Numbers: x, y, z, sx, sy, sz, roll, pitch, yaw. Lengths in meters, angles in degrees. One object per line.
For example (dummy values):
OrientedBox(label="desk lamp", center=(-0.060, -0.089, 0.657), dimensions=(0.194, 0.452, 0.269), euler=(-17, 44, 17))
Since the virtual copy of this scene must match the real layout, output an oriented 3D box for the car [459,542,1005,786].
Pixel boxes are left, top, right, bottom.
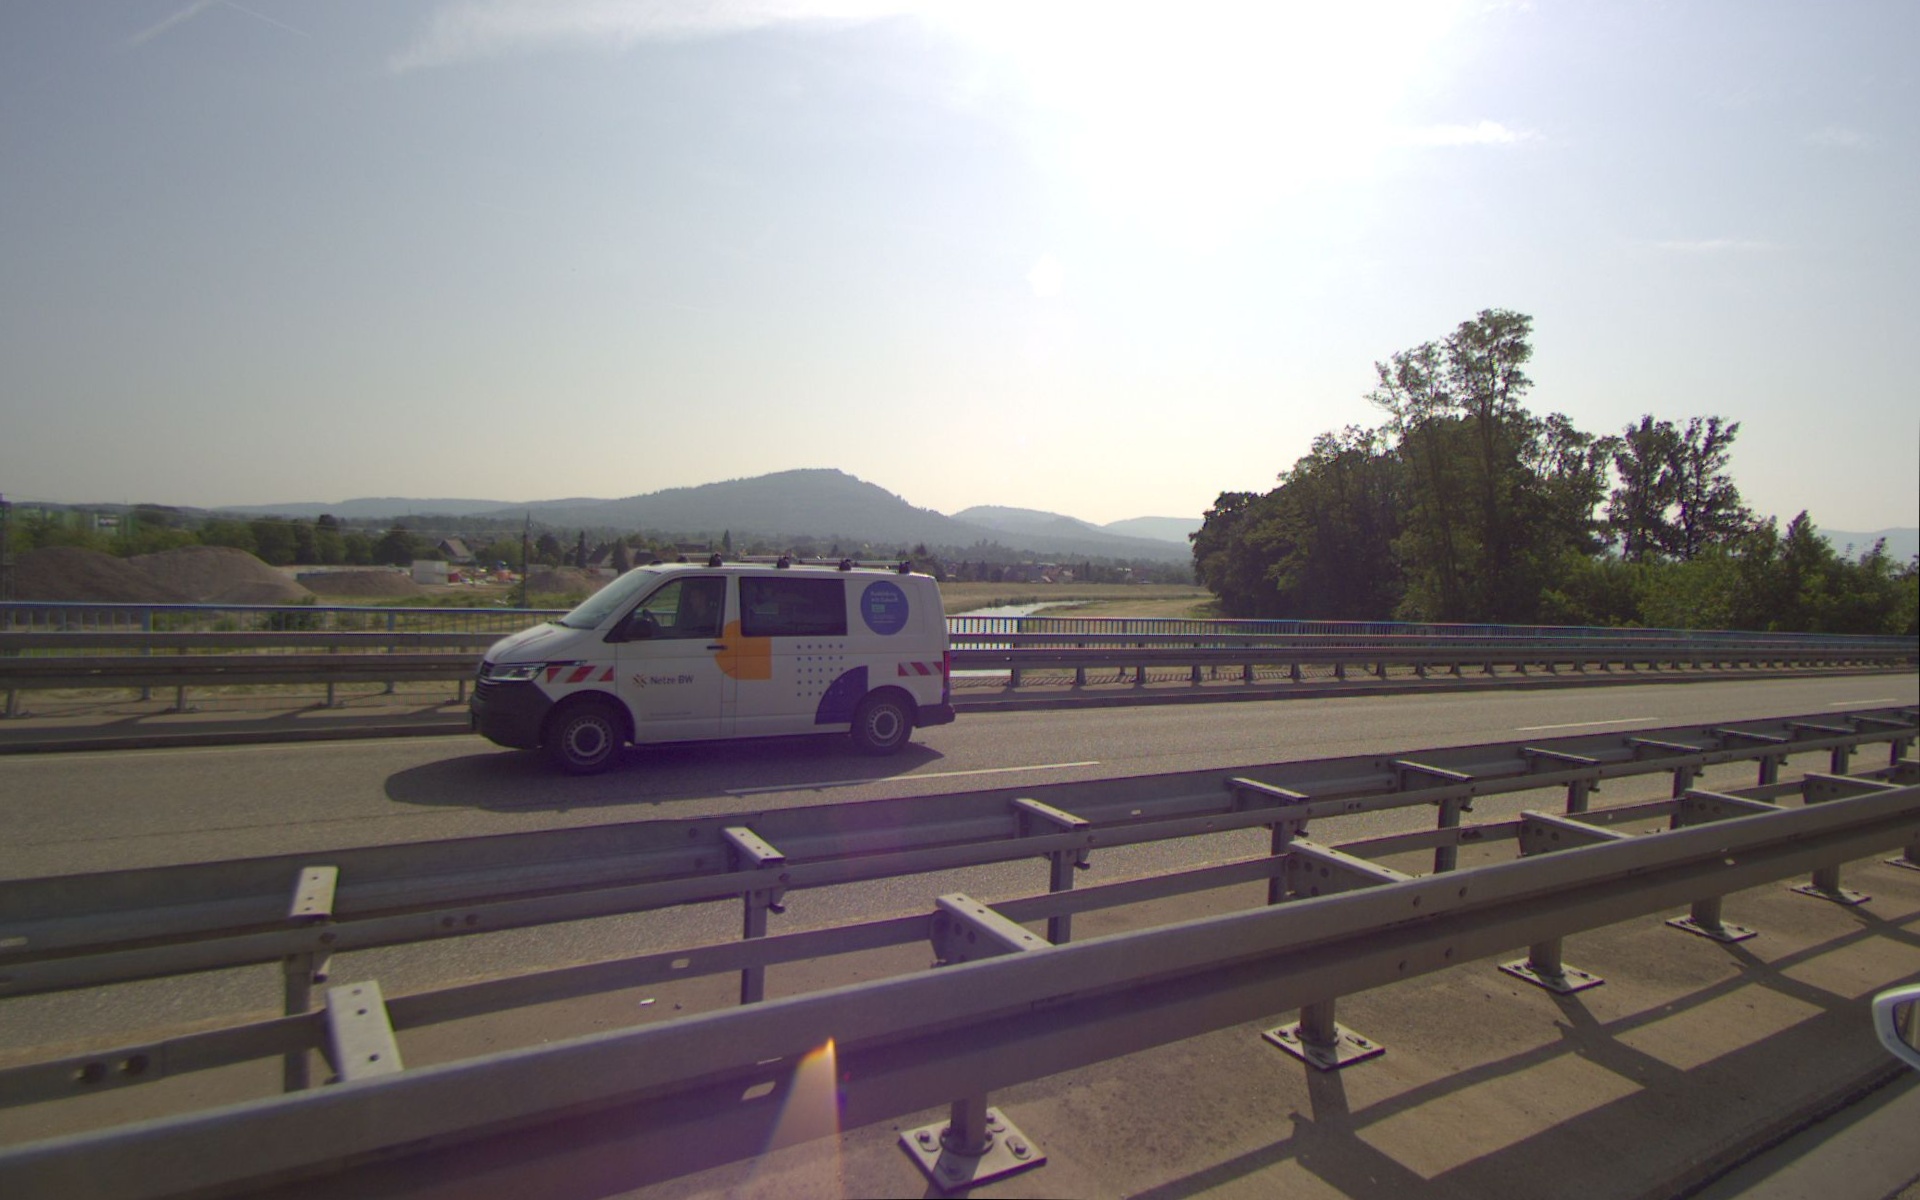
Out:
OrientedBox(label="car", center=(-2.277, 0.548, 10.583), dimensions=(5.246, 2.033, 2.028), euler=(1, 1, -31))
